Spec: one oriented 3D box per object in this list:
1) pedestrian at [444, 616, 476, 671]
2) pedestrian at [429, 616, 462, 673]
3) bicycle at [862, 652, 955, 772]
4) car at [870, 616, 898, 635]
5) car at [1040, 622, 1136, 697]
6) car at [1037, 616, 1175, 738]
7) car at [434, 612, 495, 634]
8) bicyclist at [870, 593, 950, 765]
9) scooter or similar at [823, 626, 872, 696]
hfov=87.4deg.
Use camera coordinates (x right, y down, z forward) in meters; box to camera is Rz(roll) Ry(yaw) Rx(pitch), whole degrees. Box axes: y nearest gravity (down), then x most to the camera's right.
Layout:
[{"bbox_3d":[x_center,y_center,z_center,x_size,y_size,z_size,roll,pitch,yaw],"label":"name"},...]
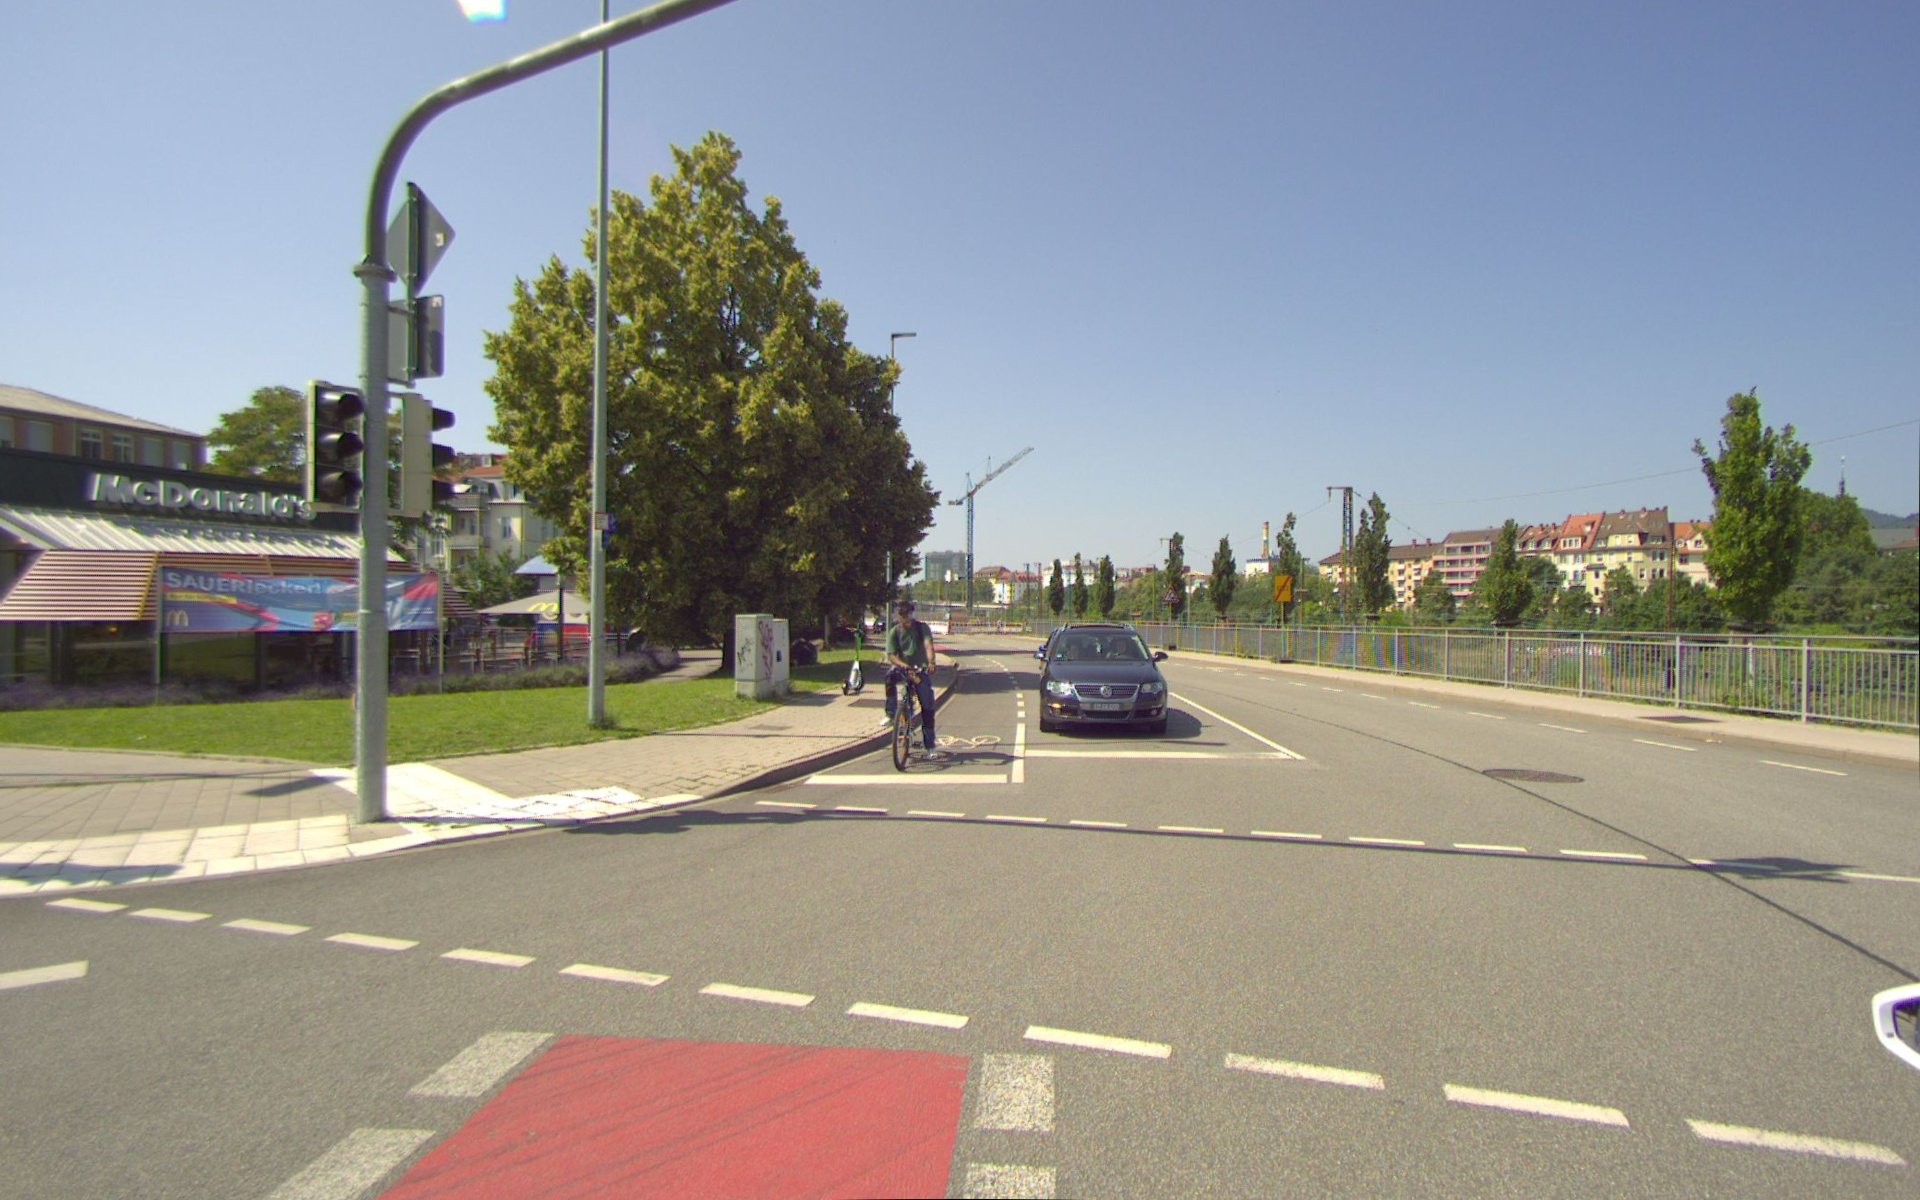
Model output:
[{"bbox_3d":[-18.835,1.637,37.856,0.819,2.040,0.752,0,0,-4],"label":"pedestrian"},{"bbox_3d":[-18.926,1.630,36.968,0.819,2.040,0.752,0,0,-4],"label":"pedestrian"},{"bbox_3d":[-0.523,1.177,10.972,0.685,1.119,1.756,-1,-1,7],"label":"bicycle"},{"bbox_3d":[-7.271,2.426,95.807,1.923,1.718,4.600,0,0,-14],"label":"car"},{"bbox_3d":[2.669,1.203,21.631,1.628,1.399,4.001,0,0,1],"label":"car"},{"bbox_3d":[2.060,1.026,15.258,1.749,1.516,4.725,0,0,5],"label":"car"},{"bbox_3d":[-37.193,1.681,75.459,3.939,1.619,1.790,0,0,-20],"label":"car"},{"bbox_3d":[-0.536,0.844,11.018,0.698,1.812,0.809,-1,0,8],"label":"bicyclist"},{"bbox_3d":[-2.046,1.099,18.425,0.463,1.200,1.366,0,0,13],"label":"scooter or similar"}]
